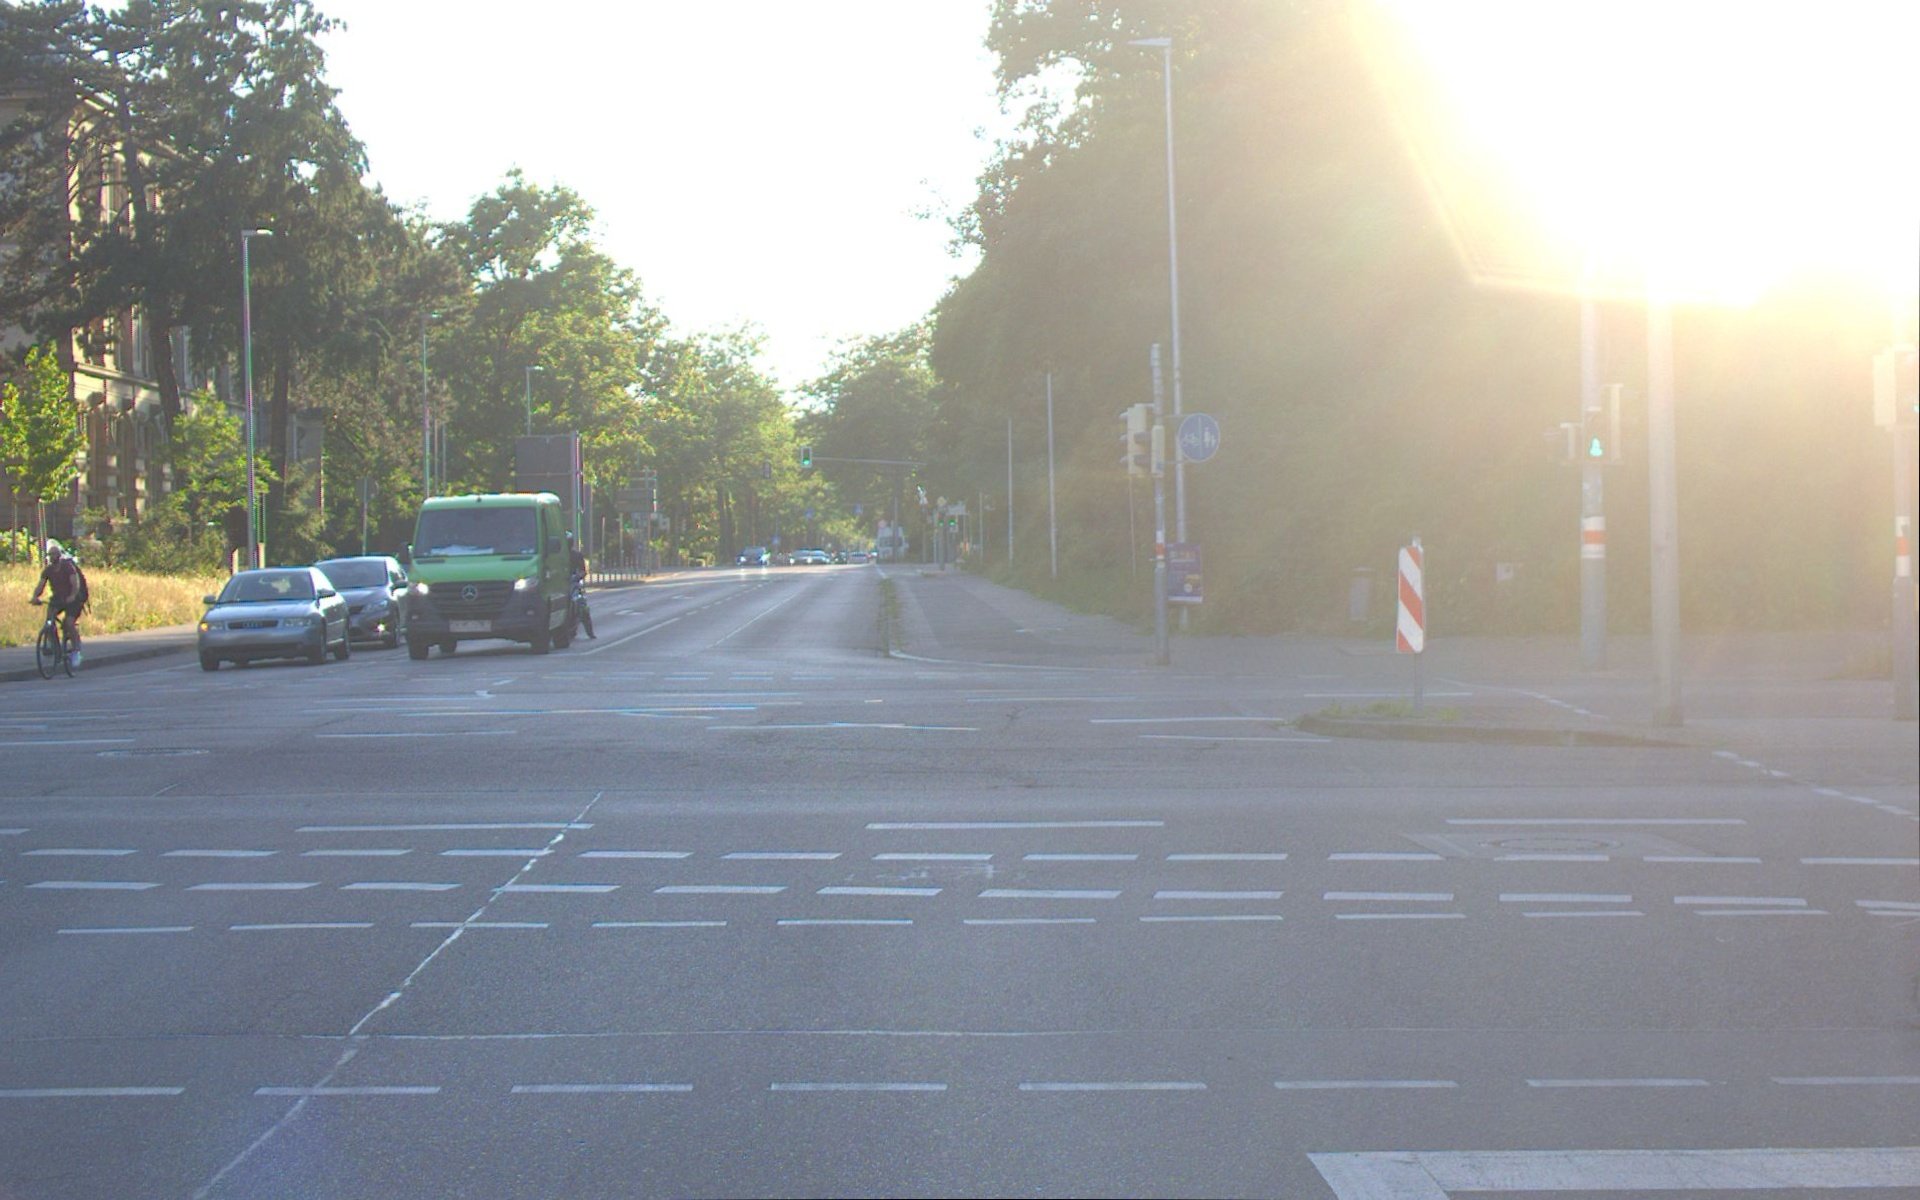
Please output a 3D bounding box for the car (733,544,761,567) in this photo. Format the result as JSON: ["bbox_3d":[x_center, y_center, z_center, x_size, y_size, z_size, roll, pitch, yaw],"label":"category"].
[{"bbox_3d":[-13.871,-2.900,223.725,1.770,1.469,3.777,-1,1,-4],"label":"car"}]

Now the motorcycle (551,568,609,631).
[{"bbox_3d":[-6.198,-0.016,56.136,0.754,0.998,1.879,-1,1,-1],"label":"motorcycle"}]

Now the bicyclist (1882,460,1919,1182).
[{"bbox_3d":[2.406,0.487,7.363,0.603,1.580,0.910,0,1,-1],"label":"bicyclist"}]

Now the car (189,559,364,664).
[{"bbox_3d":[-9.813,0.136,49.608,1.730,1.404,4.140,-1,1,-1],"label":"car"}]

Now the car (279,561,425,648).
[{"bbox_3d":[-9.896,0.048,56.186,1.764,1.323,3.643,-1,1,-1],"label":"car"}]

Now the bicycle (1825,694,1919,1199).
[{"bbox_3d":[2.407,0.810,7.361,0.613,1.134,1.884,0,1,-1],"label":"bicycle"}]

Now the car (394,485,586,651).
[{"bbox_3d":[-6.826,-0.487,50.551,2.038,2.270,5.941,-1,1,-1],"label":"car"}]

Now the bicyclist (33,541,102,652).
[{"bbox_3d":[-12.258,-0.056,47.230,0.683,1.507,0.956,-1,1,-1],"label":"bicyclist"}]

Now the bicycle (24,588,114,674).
[{"bbox_3d":[-12.253,0.411,47.330,0.686,1.119,2.169,-1,1,-1],"label":"bicycle"}]

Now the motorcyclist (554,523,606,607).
[{"bbox_3d":[-6.203,-0.568,56.123,0.749,1.353,0.704,-1,0,-1],"label":"motorcyclist"}]
